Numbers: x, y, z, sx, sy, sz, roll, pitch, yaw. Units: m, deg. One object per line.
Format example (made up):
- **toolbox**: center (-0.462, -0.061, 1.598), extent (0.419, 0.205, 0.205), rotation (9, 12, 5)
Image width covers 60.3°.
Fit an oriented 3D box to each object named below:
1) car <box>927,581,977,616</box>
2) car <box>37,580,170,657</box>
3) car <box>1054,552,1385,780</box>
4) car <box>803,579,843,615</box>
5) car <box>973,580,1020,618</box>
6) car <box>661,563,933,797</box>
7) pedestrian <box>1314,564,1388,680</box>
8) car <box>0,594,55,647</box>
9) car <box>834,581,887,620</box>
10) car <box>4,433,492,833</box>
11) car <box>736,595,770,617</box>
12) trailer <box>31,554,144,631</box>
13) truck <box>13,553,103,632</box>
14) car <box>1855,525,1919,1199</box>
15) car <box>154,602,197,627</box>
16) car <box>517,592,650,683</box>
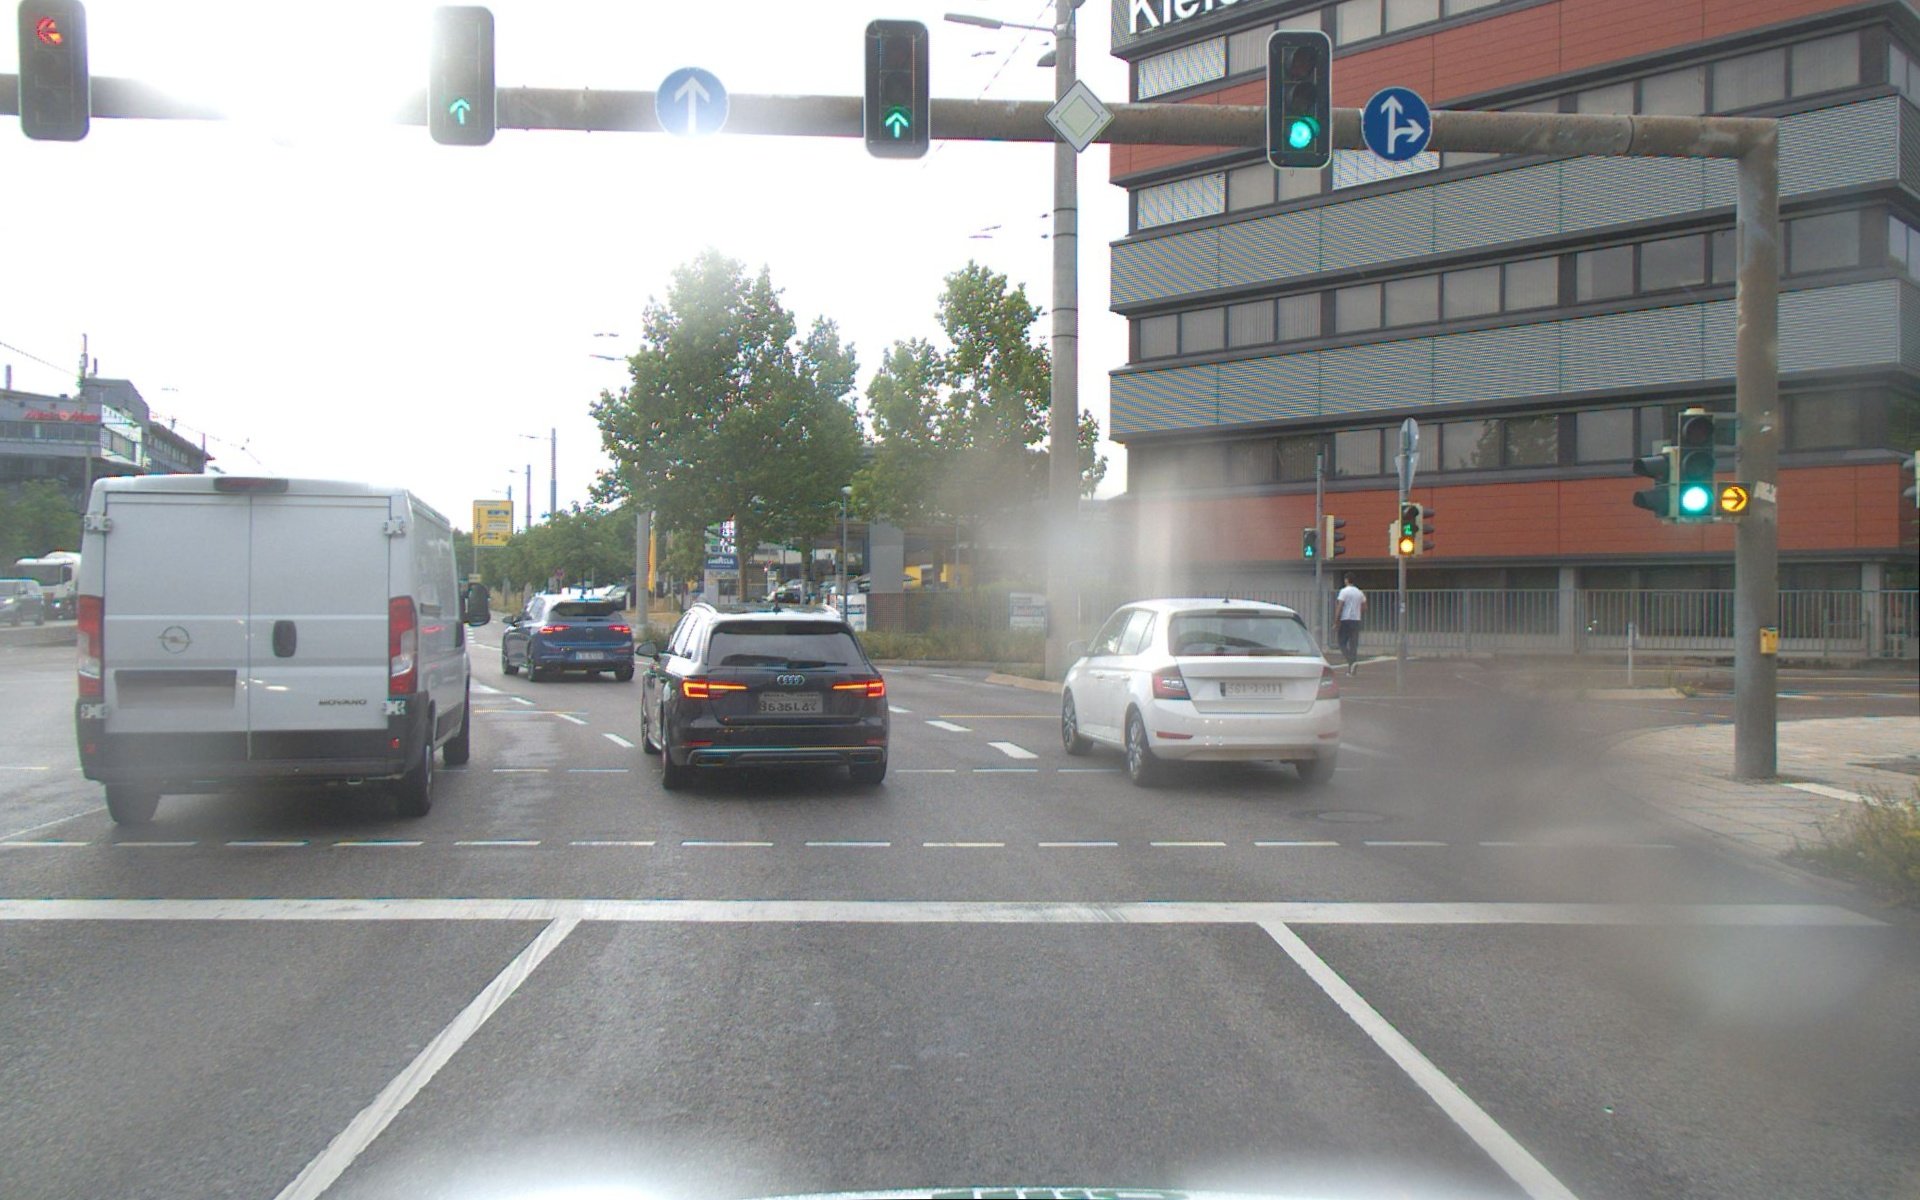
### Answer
- **car**: center (-0.509, -0.086, 102.187), extent (1.844, 2.049, 3.750), rotation (3, -1, -21)
- **car**: center (-24.747, 0.510, 47.945), extent (1.738, 2.049, 4.344), rotation (3, 0, -4)
- **car**: center (2.087, 0.534, 14.471), extent (1.794, 1.685, 3.993), rotation (1, -1, -7)
- **car**: center (-8.188, -0.149, 98.751), extent (1.652, 2.049, 3.526), rotation (3, -1, -16)
- **car**: center (2.051, -0.037, 93.876), extent (1.649, 2.049, 3.122), rotation (3, -1, -18)
- **car**: center (-1.526, 0.578, 14.012), extent (1.958, 1.666, 3.990), rotation (0, 0, -11)
- **pedestrian**: center (7.521, 0.404, 31.898), extent (1.120, 2.162, 1.222), rotation (0, 1, -1)
- **car**: center (-39.120, 0.803, 68.201), extent (1.960, 1.869, 4.890), rotation (4, 1, -15)
- **car**: center (-5.453, 0.022, 89.997), extent (1.962, 2.068, 3.980), rotation (0, 0, -18)
- **car**: center (-4.907, 0.229, 12.320), extent (2.403, 2.334, 4.889), rotation (1, -1, -13)
- **car**: center (-15.162, 0.436, 121.165), extent (1.764, 1.619, 3.979), rotation (0, 0, -18)
- **trailer**: center (-47.546, -0.343, 90.538), extent (2.678, 3.922, 11.190), rotation (-1, 0, -13)
- **truck**: center (-46.182, -0.361, 84.842), extent (2.699, 3.872, 5.391), rotation (-1, -1, -14)
- **car**: center (3.161, 0.684, 1.912), extent (1.730, 1.658, 4.322), rotation (3, 0, -3)
- **car**: center (-50.829, 0.921, 107.249), extent (2.127, 1.532, 4.276), rotation (0, 0, -20)
- **car**: center (-6.683, 0.647, 29.118), extent (1.865, 1.491, 3.887), rotation (1, -1, -19)
